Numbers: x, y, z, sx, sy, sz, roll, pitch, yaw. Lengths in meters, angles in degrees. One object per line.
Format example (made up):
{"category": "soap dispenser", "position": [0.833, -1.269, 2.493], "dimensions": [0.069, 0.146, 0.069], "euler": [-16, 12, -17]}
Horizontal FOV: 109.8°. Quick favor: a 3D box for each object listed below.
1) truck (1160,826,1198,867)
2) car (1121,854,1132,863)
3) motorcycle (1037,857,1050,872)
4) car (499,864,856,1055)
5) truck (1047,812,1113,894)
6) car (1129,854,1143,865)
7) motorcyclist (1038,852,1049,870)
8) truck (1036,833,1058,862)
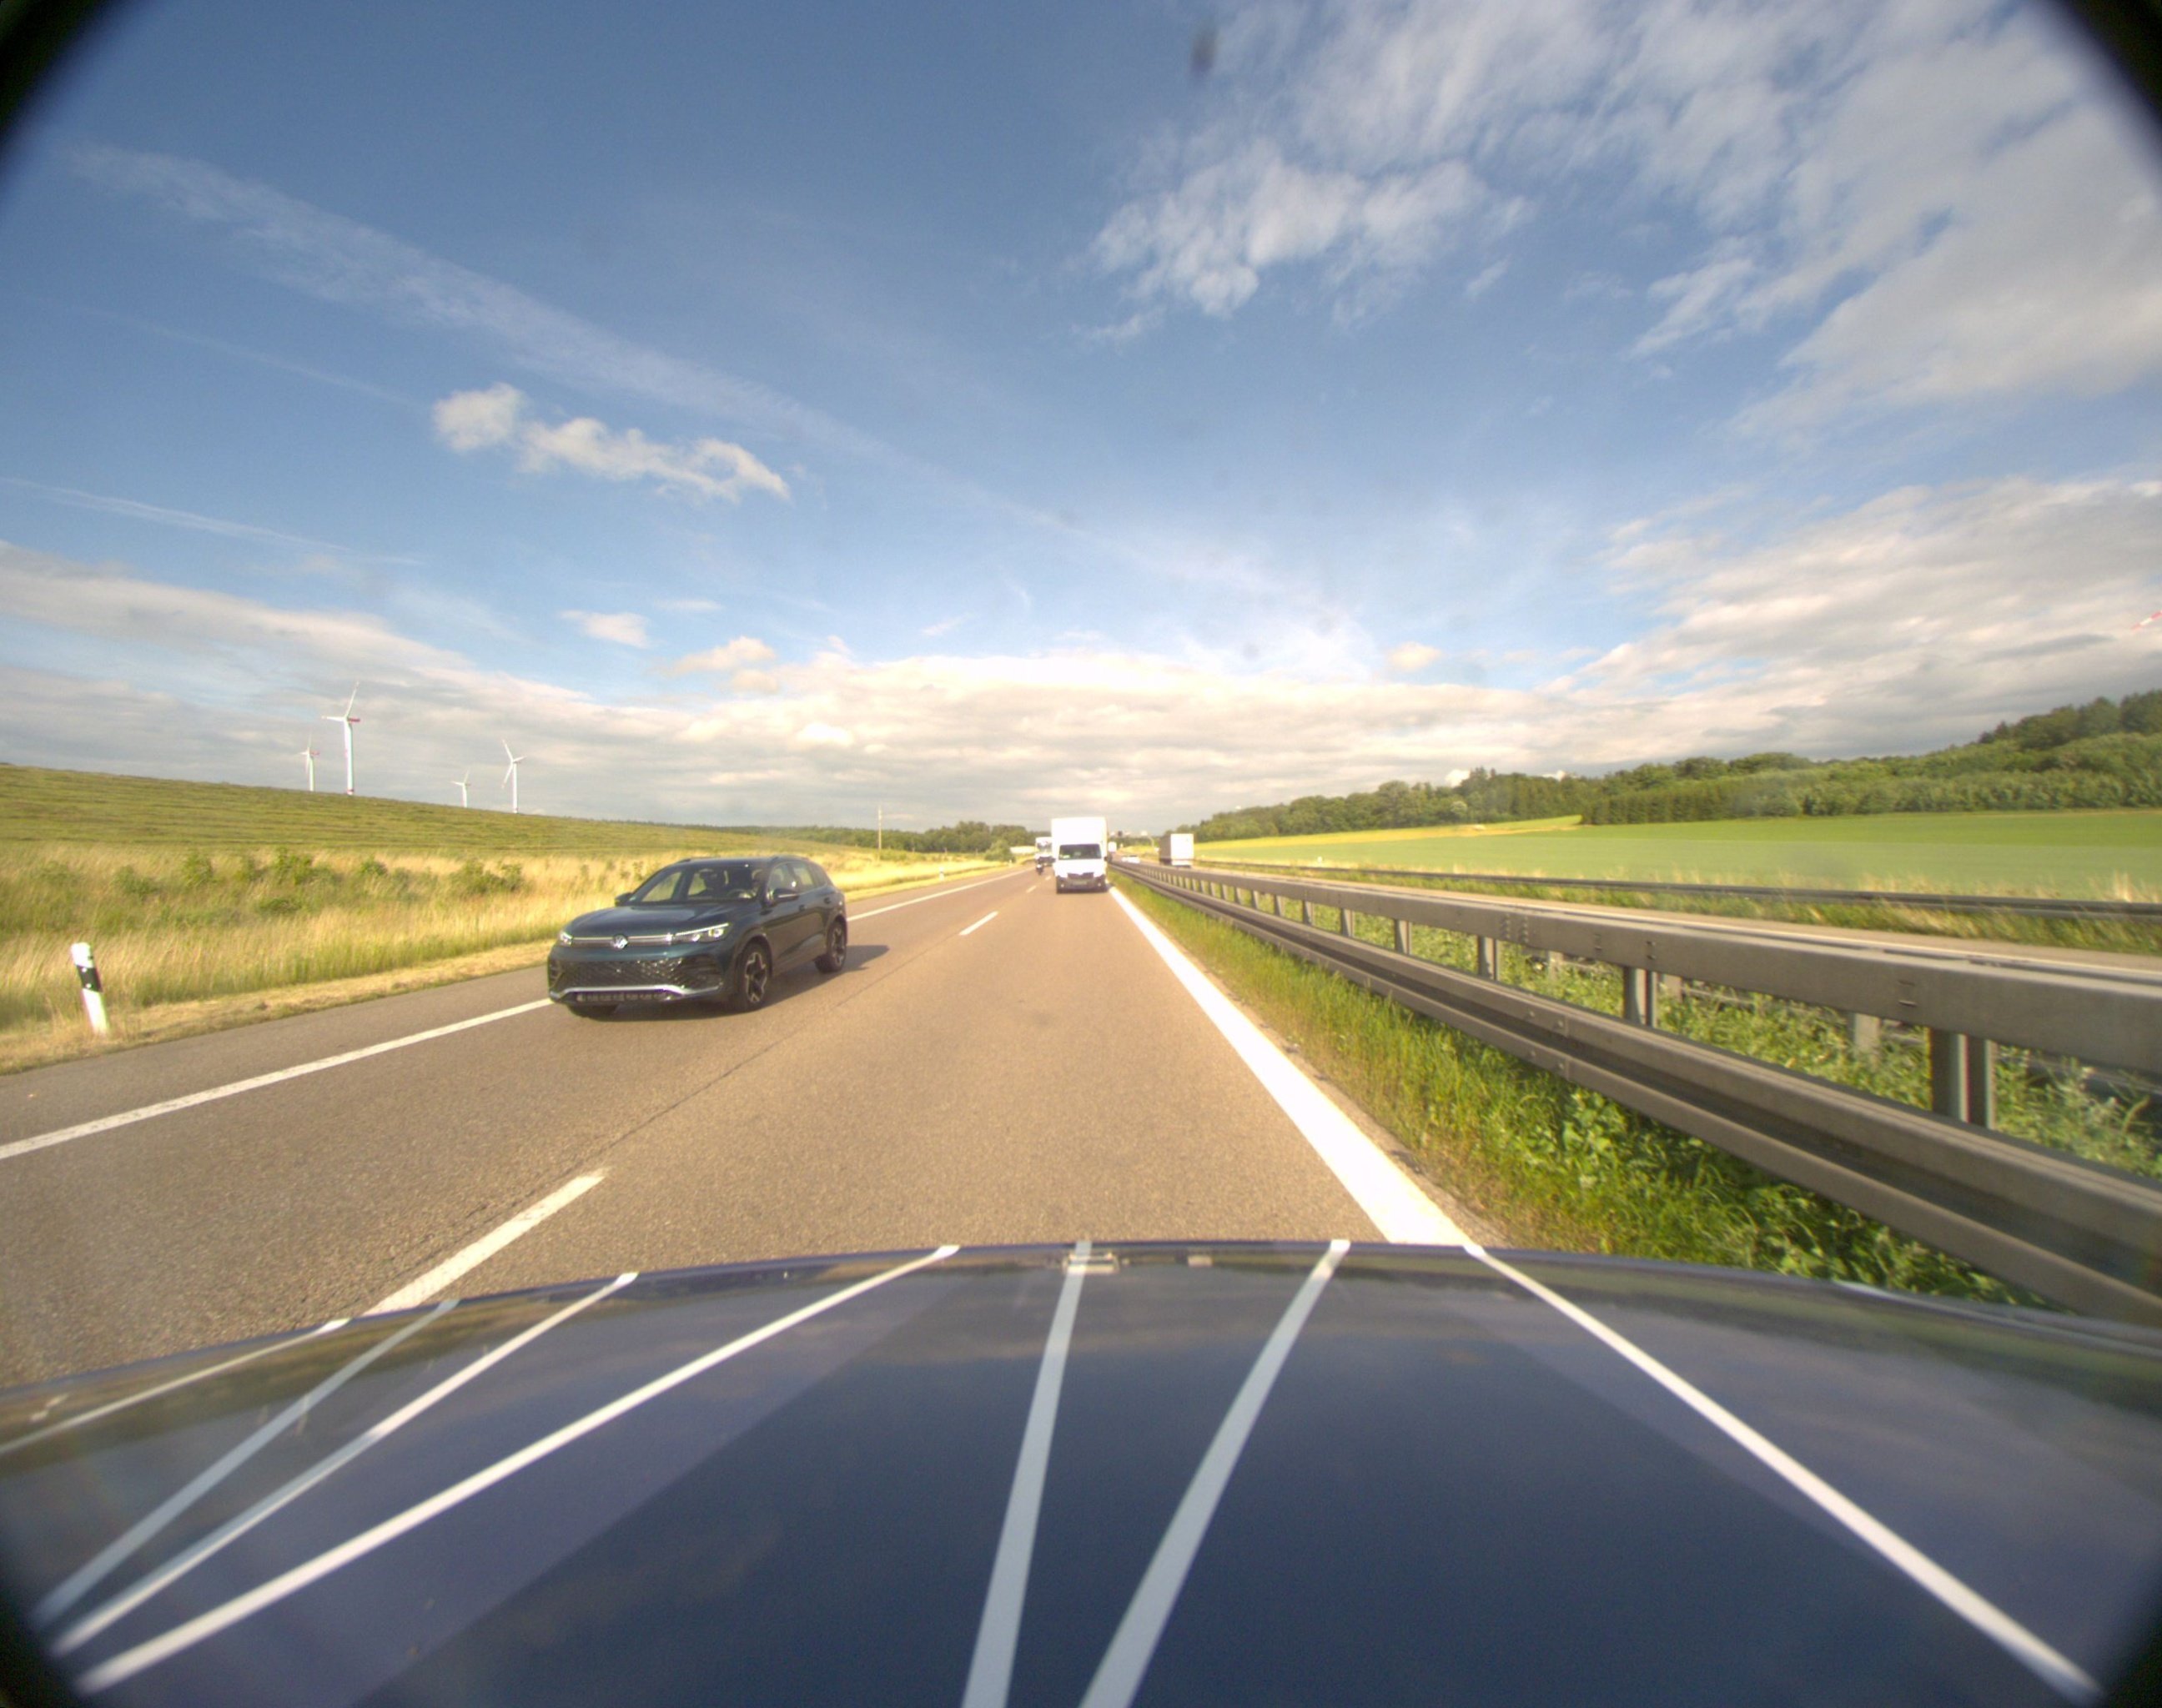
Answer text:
{"category": "truck", "position": [11.994, -0.989, 94.493], "dimensions": [2.887, 4.608, 13.421], "euler": [-2, 1, 0]}
{"category": "car", "position": [8.270, 0.868, 138.791], "dimensions": [1.708, 1.537, 3.999], "euler": [-2, 1, 1]}
{"category": "motorcycle", "position": [-3.218, 0.910, 65.323], "dimensions": [0.898, 1.183, 2.256], "euler": [-2, 1, 0]}
{"category": "car", "position": [-4.277, 0.985, 8.988], "dimensions": [1.825, 1.592, 4.235], "euler": [-2, 0, 1]}
{"category": "truck", "position": [-0.069, -0.032, 35.515], "dimensions": [2.502, 3.141, 11.162], "euler": [-2, 0, 0]}
{"category": "car", "position": [8.013, 0.803, 111.586], "dimensions": [1.708, 1.482, 3.999], "euler": [-2, 1, 1]}
{"category": "motorcyclist", "position": [-3.232, 0.582, 65.362], "dimensions": [0.852, 1.551, 0.934], "euler": [-2, 1, 0]}
{"category": "truck", "position": [-4.762, -0.901, 107.202], "dimensions": [2.607, 4.017, 6.119], "euler": [0, 1, 1]}
